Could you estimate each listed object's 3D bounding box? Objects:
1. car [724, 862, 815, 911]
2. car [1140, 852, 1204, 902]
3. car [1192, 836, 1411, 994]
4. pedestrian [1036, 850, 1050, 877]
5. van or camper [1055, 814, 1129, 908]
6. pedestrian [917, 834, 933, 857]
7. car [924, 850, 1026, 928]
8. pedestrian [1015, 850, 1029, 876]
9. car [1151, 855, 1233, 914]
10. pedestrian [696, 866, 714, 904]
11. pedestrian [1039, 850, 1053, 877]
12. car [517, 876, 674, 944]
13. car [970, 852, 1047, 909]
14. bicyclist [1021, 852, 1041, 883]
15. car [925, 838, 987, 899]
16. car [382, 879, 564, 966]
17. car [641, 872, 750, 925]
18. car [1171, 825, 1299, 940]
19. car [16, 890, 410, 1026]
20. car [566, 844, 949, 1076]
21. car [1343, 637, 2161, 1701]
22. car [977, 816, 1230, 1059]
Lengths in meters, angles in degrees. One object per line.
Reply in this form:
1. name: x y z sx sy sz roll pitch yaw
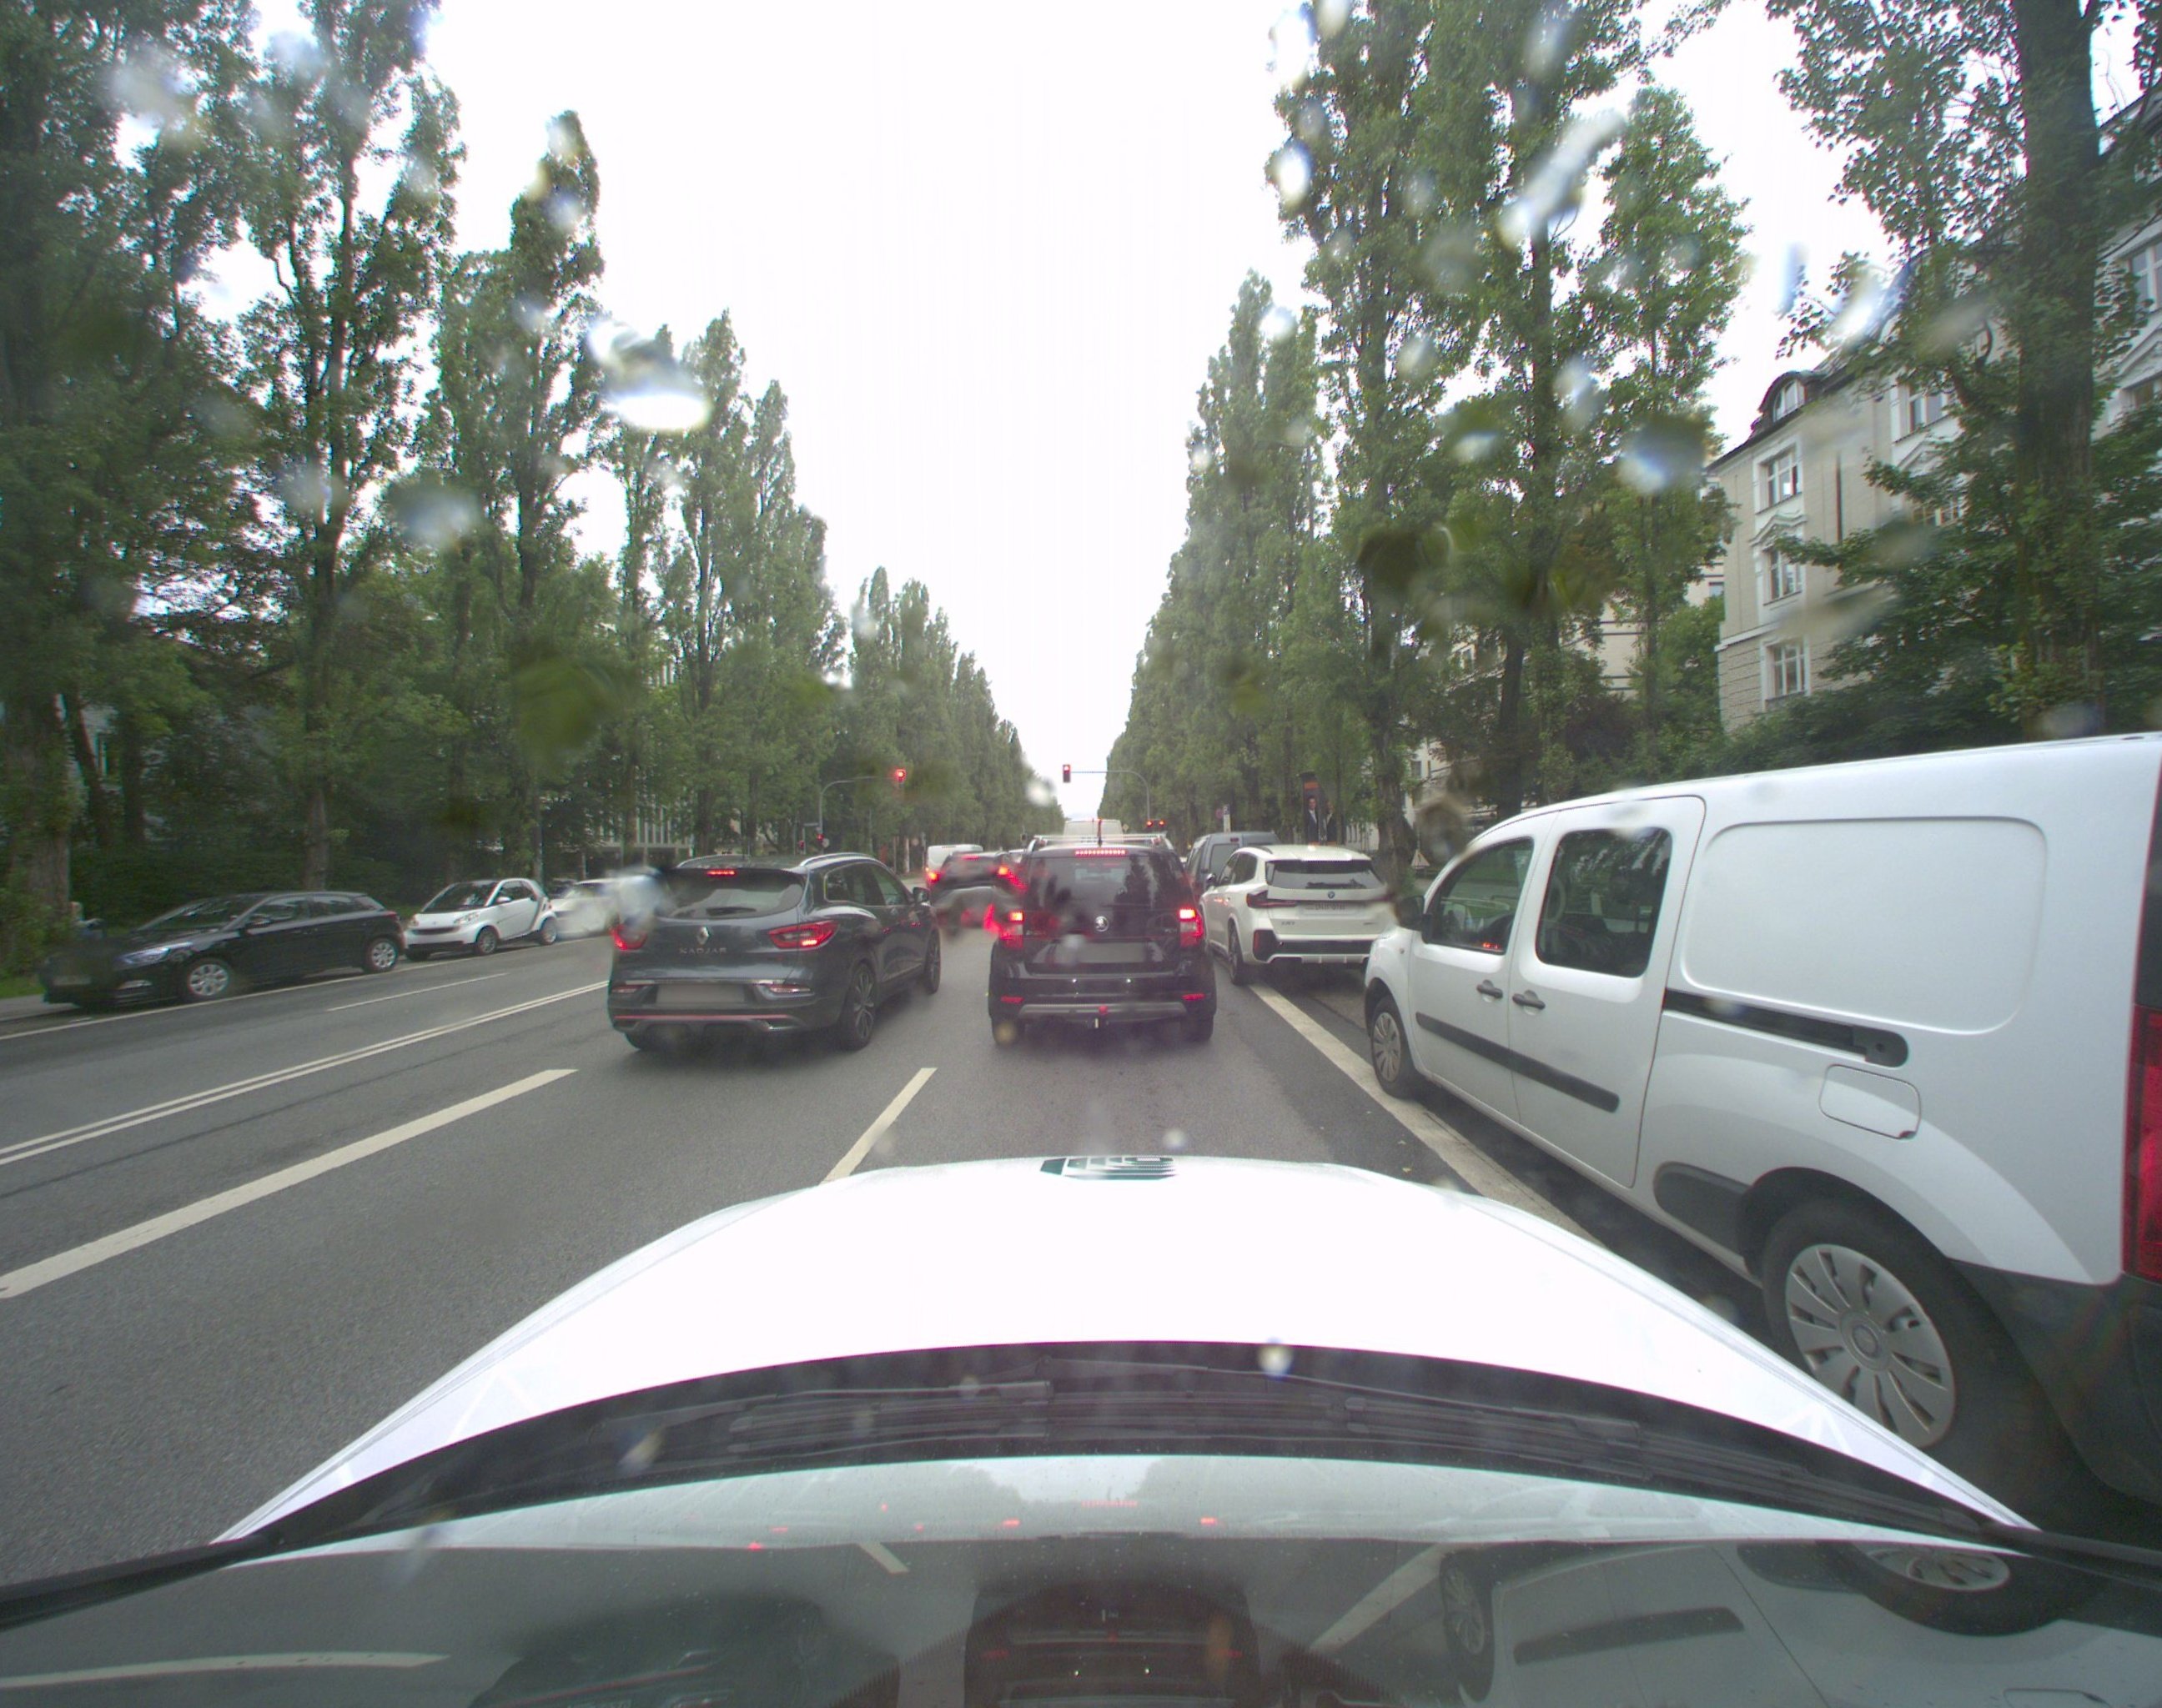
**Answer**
1. car: -12.422 1.243 32.782 1.844 1.654 4.693 -4 0 -2
2. car: 2.976 0.723 27.268 1.729 1.475 3.563 -2 0 1
3. car: 2.596 0.631 10.618 1.735 1.593 4.212 -2 0 1
4. pedestrian: -2.843 0.702 61.680 0.881 2.013 1.014 -2 0 4
5. van or camper: 0.294 0.188 24.643 1.969 2.548 4.023 -2 0 -1
6. pedestrian: -12.221 -0.678 63.797 0.875 1.764 0.880 -2 0 10
7. car: -2.349 0.720 18.992 1.775 1.620 4.025 0 0 1
8. pedestrian: -4.704 0.739 64.659 0.881 2.013 1.014 -2 0 4
9. car: 2.905 0.747 21.966 1.729 1.387 3.563 -2 0 1
10. pedestrian: -15.349 1.272 33.254 0.463 1.528 0.395 -2 0 1
11. pedestrian: -2.663 0.721 62.769 0.881 2.013 1.014 -2 0 4
12. car: -12.504 1.381 21.316 1.619 1.389 4.164 -4 0 -2
13. car: -2.194 0.757 25.656 1.987 1.560 4.000 -2 0 0
14. bicyclist: -2.859 0.759 46.372 0.900 1.722 0.827 -2 0 10
15. car: -4.689 0.518 31.050 1.777 2.111 4.021 -2 0 -2
16. car: -12.528 1.341 16.994 1.423 1.447 2.966 -5 0 0
17. car: -12.557 1.407 26.832 1.619 1.389 4.164 -4 0 -2
18. car: 2.849 0.473 15.891 1.729 1.895 4.025 -2 0 1
19. car: -12.578 1.402 12.233 1.594 1.425 3.853 -4 0 2
20. car: -2.564 0.726 7.690 1.828 1.586 4.187 0 0 2
21. car: 2.749 0.516 3.540 1.845 1.881 4.168 -2 0 0
22. car: 0.206 0.604 7.939 1.849 1.770 4.001 0 0 1
